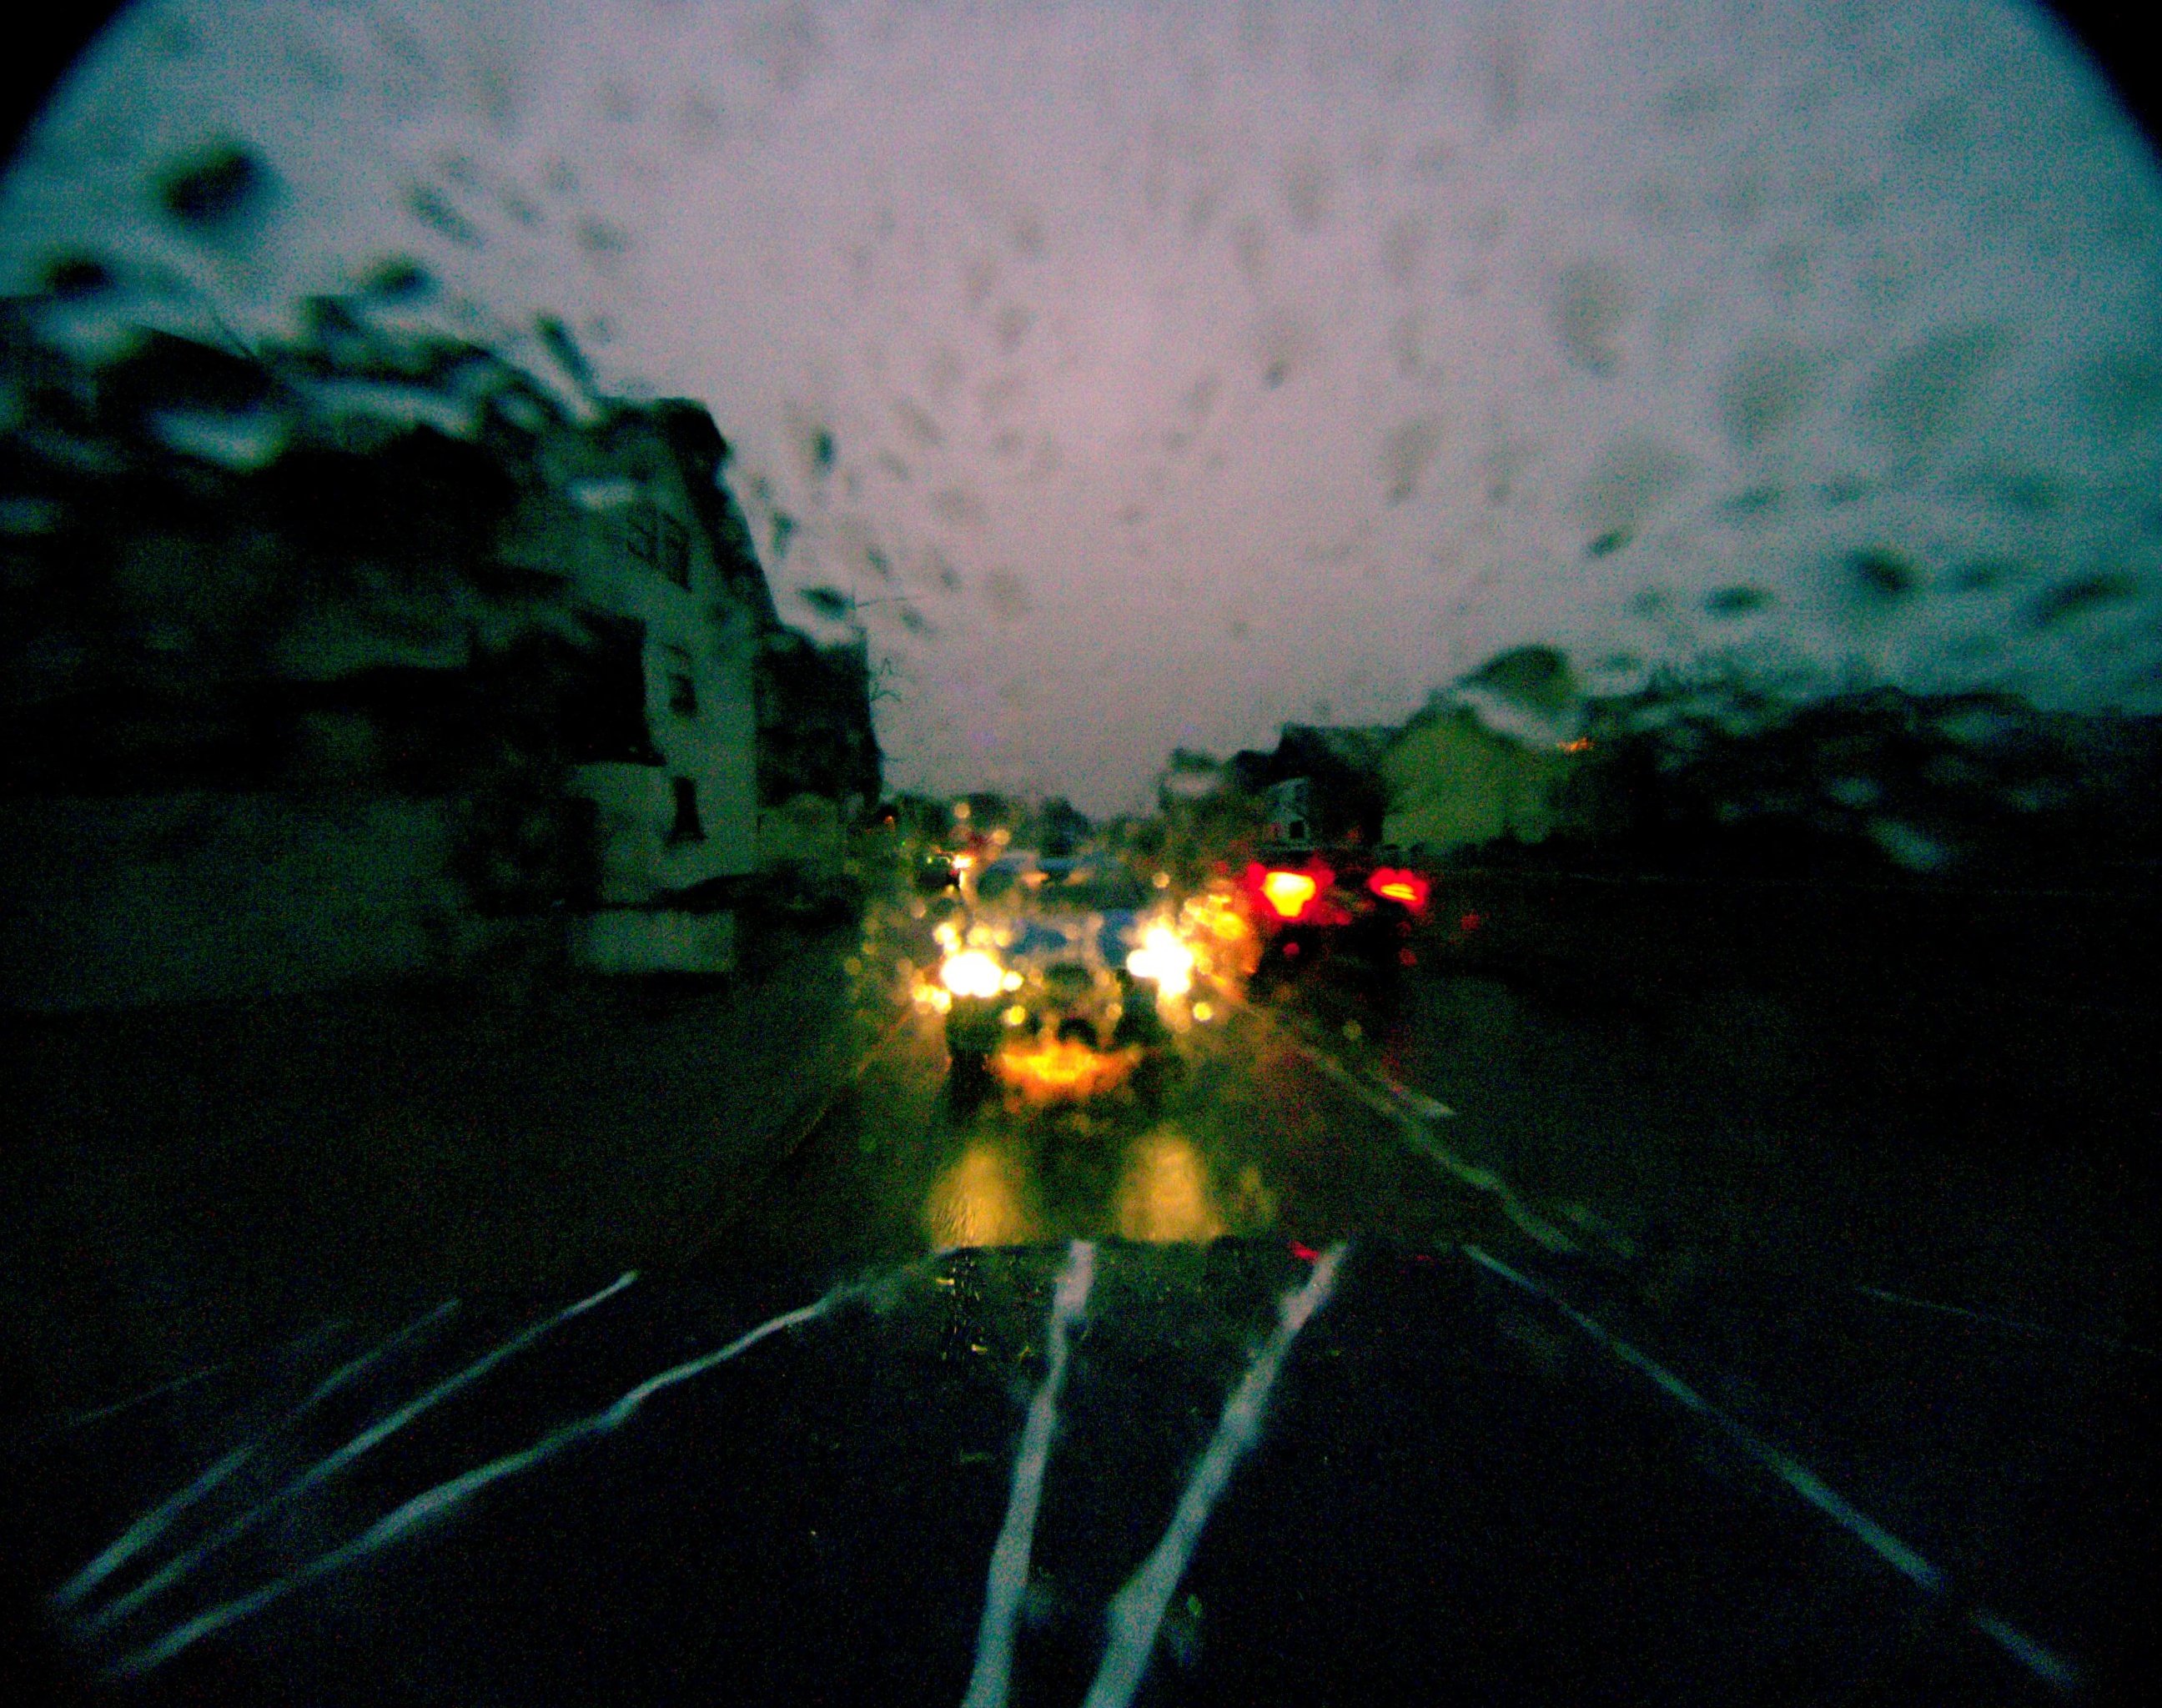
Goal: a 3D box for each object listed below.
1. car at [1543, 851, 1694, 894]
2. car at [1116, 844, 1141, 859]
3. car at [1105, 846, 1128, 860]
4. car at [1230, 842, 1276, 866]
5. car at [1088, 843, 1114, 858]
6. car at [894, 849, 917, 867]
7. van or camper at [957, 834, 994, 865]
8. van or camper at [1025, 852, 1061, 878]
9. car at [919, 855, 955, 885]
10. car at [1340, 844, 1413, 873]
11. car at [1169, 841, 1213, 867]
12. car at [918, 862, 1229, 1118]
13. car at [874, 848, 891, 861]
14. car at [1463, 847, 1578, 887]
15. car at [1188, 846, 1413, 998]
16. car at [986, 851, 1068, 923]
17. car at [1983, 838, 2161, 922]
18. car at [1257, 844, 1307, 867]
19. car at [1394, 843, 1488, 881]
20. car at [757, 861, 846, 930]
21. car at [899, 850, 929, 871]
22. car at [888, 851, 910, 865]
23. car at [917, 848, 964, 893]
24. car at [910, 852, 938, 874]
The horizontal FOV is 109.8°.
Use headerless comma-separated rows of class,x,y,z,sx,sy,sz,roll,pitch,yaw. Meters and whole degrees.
car,19.398,0.623,27.727,1.880,1.425,4.497,0,0,-9
car,5.643,-0.315,90.427,1.823,1.615,3.980,-4,1,-13
car,4.436,-0.144,95.399,1.903,1.509,3.994,-4,3,-13
car,13.266,-0.012,58.736,1.865,1.672,3.995,-4,2,-12
car,2.620,-0.506,102.513,2.001,1.894,4.350,-4,2,-19
car,-16.309,0.379,70.560,1.671,1.567,4.489,-1,1,-18
van or camper,-9.738,-0.394,69.761,2.249,2.653,6.545,-1,0,-17
van or camper,-2.164,0.571,42.441,1.567,1.347,3.418,0,0,-10
car,-7.261,0.770,38.208,1.651,1.407,2.724,1,0,-13
car,16.797,0.250,43.415,1.880,1.589,4.220,0,0,-11
car,8.183,-0.027,56.851,1.806,1.793,3.854,-1,2,-16
car,-0.168,0.921,7.070,1.999,1.526,3.998,-3,0,-4
car,-25.351,0.075,97.076,1.815,1.555,4.297,-1,1,-19
car,18.744,0.530,32.667,1.880,1.563,4.497,0,0,-9
car,2.707,0.745,10.370,1.742,1.643,3.999,-1,0,-3
car,-1.577,0.787,20.614,1.907,1.630,4.562,-1,1,-8
car,20.919,0.480,14.922,1.570,1.571,3.817,1,1,-9
car,14.429,0.081,54.762,1.775,1.515,4.026,-1,1,-12
car,17.773,0.359,37.753,1.880,1.768,4.497,0,0,-11
car,-6.561,0.897,18.109,1.772,1.385,3.907,1,0,-18
car,-14.127,0.524,64.063,1.964,1.524,5.000,-4,2,-18
car,-18.797,0.371,78.352,1.710,1.443,4.184,-1,1,-20
car,-5.960,0.637,32.547,1.775,1.771,3.996,2,0,-8
car,-11.156,0.591,53.813,1.659,1.446,4.231,1,0,-16
